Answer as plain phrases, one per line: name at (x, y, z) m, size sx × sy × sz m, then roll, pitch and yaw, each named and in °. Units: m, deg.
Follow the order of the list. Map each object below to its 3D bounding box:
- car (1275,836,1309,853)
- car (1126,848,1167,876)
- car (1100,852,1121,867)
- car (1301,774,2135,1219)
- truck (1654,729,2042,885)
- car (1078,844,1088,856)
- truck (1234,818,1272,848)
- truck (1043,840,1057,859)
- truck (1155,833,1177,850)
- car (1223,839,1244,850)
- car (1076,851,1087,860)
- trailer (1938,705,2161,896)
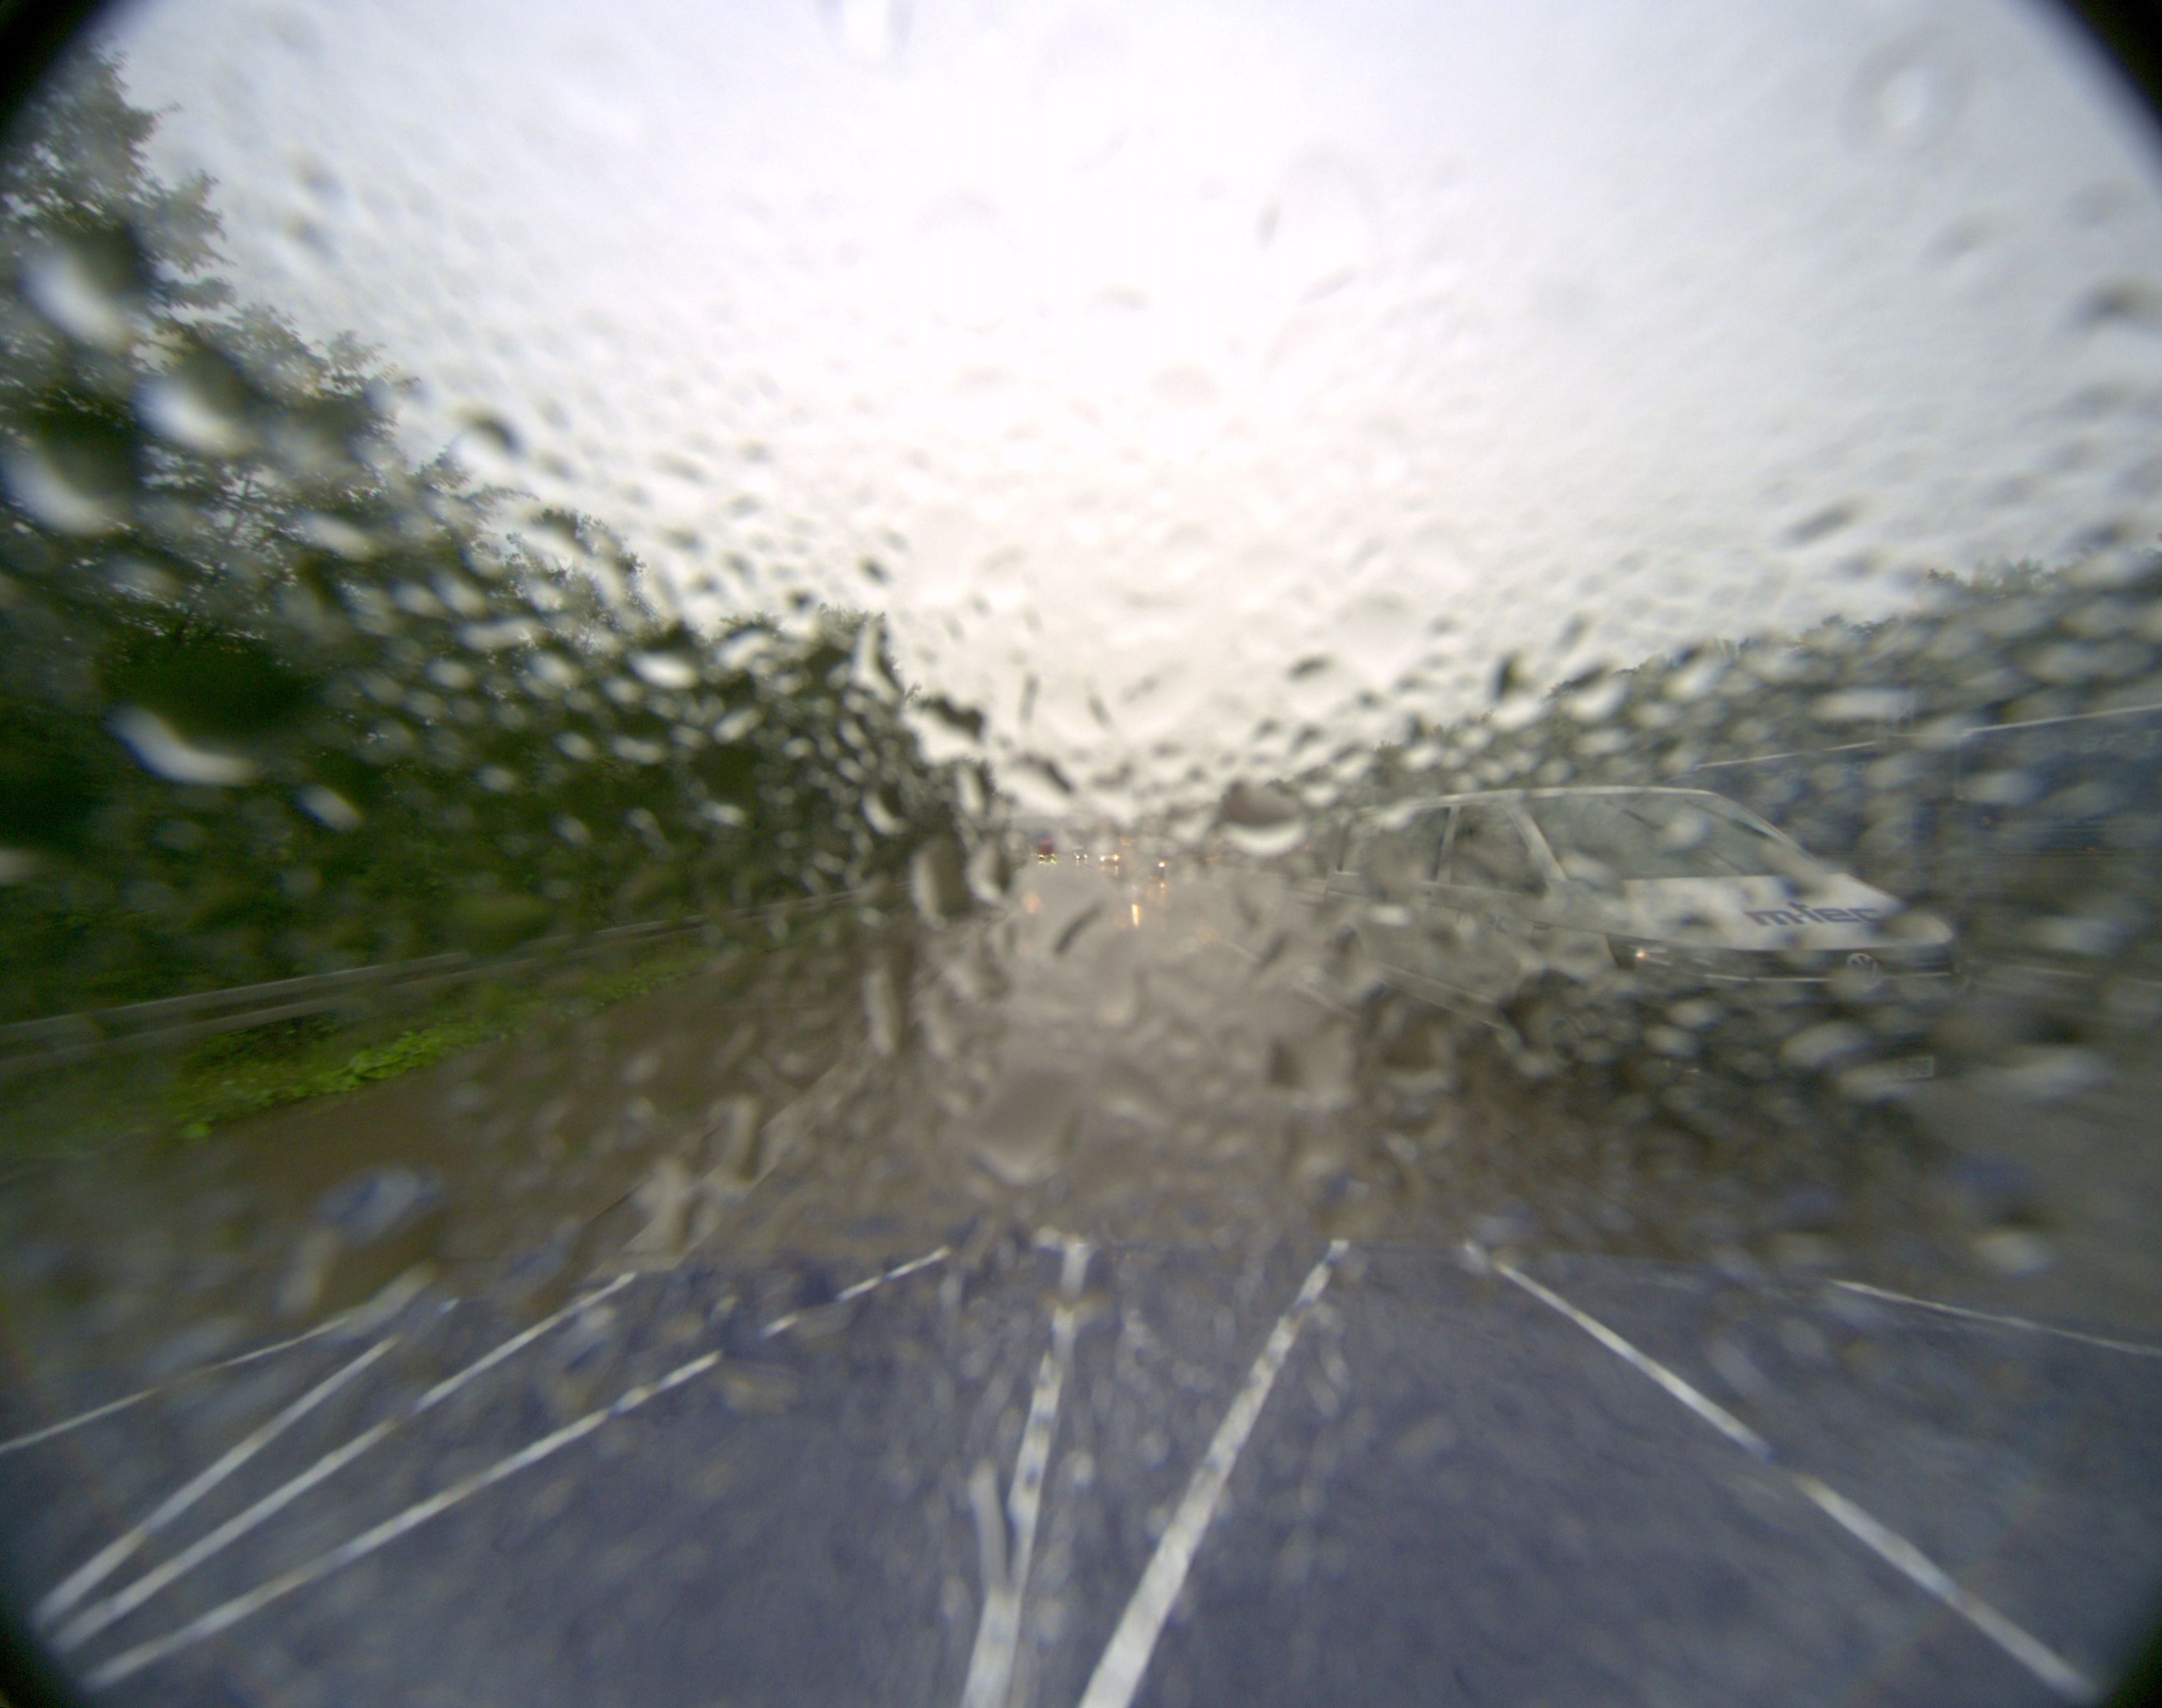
car at (20.461, -0.895, 73.957) m, size 1.757 × 1.523 × 5.270 m, roll -3°, pitch 0°, yaw 0°
car at (3.474, 0.386, 40.945) m, size 1.934 × 1.426 × 4.518 m, roll 0°, pitch 1°, yaw 1°
car at (2.944, 0.510, 77.308) m, size 1.934 × 1.426 × 4.517 m, roll 0°, pitch 1°, yaw 0°
car at (3.538, 0.593, 5.811) m, size 1.905 × 1.883 × 5.040 m, roll -1°, pitch 0°, yaw -4°
truck at (24.838, -1.312, 25.893) m, size 2.855 × 4.130 × 10.177 m, roll -3°, pitch 0°, yaw 0°
car at (0.498, -0.911, 164.619) m, size 2.045 × 2.616 × 6.403 m, roll 0°, pitch 1°, yaw 0°
truck at (22.955, -2.723, 102.047) m, size 2.591 × 3.679 × 9.798 m, roll -3°, pitch 0°, yaw -1°
truck at (-7.107, -0.920, 173.581) m, size 3.059 × 3.994 × 10.042 m, roll 0°, pitch -2°, yaw -1°
truck at (18.473, -2.685, 165.726) m, size 2.781 × 3.296 × 11.512 m, roll -3°, pitch 0°, yaw -2°
car at (19.699, -1.199, 98.070) m, size 1.757 × 1.331 × 4.424 m, roll -3°, pitch 0°, yaw 0°
car at (0.167, 0.245, 136.539) m, size 1.934 × 1.426 × 4.518 m, roll 0°, pitch 1°, yaw 1°
trailer at (24.836, -1.225, 16.454) m, size 2.855 × 4.130 × 8.524 m, roll -3°, pitch 1°, yaw 0°
